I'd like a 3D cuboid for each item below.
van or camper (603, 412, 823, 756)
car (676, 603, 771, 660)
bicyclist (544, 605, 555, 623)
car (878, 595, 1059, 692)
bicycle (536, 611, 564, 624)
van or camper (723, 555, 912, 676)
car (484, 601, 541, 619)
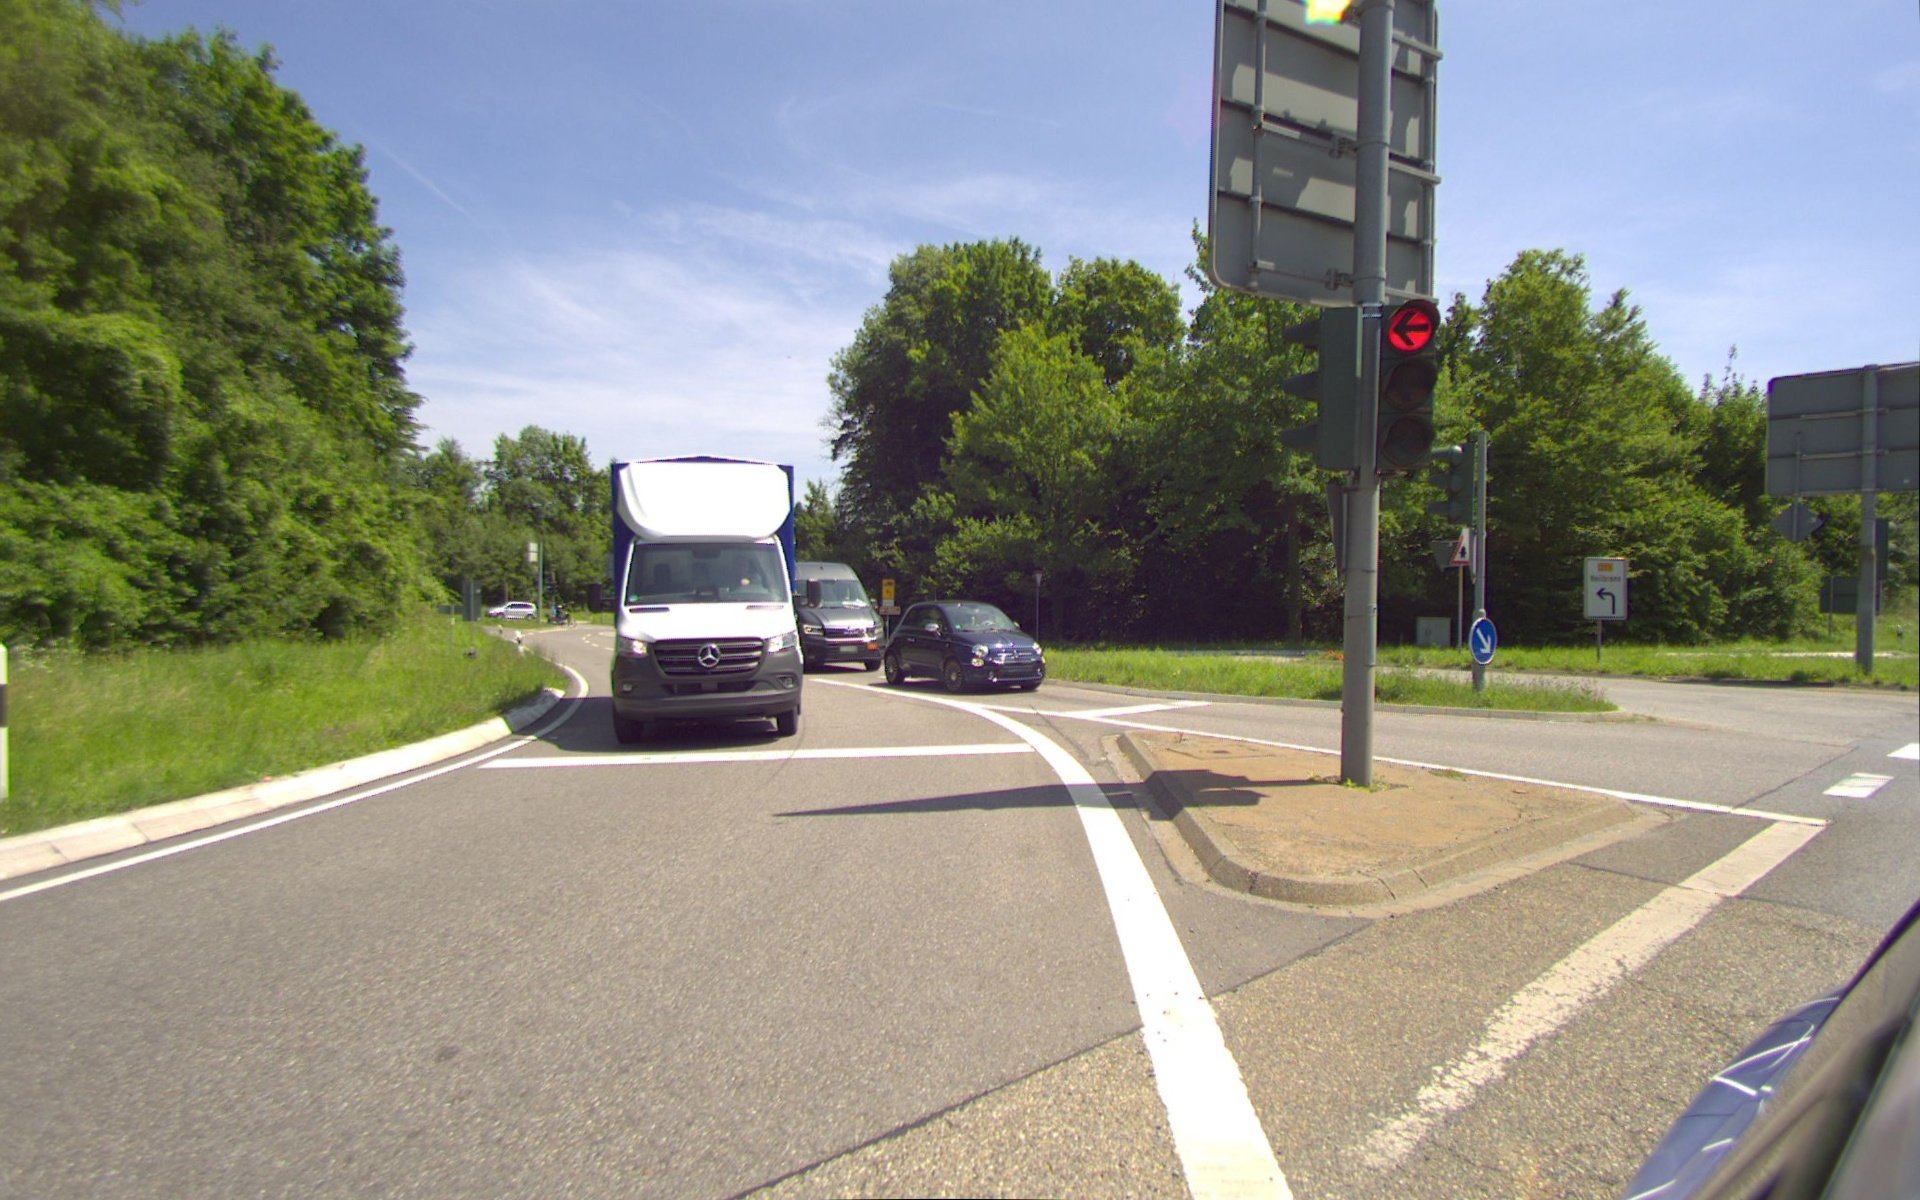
[{"bbox_3d":[-3.256,-0.175,13.335,2.060,3.252,7.268,0,0,-14],"label":"van or camper"},{"bbox_3d":[-7.733,0.938,32.680,1.812,1.627,5.129,0,0,-27],"label":"car"},{"bbox_3d":[-33.304,1.153,82.120,0.579,1.483,0.574,0,-1,32],"label":"bicyclist"},{"bbox_3d":[0.050,0.686,17.306,1.656,1.484,3.362,0,-1,-29],"label":"car"},{"bbox_3d":[-33.270,1.398,82.157,0.596,1.021,2.101,0,0,32],"label":"bicycle"},{"bbox_3d":[-3.756,0.352,24.806,2.360,2.508,7.245,-1,0,-27],"label":"van or camper"},{"bbox_3d":[-38.769,0.891,87.753,1.727,1.503,4.210,0,0,37],"label":"car"}]
